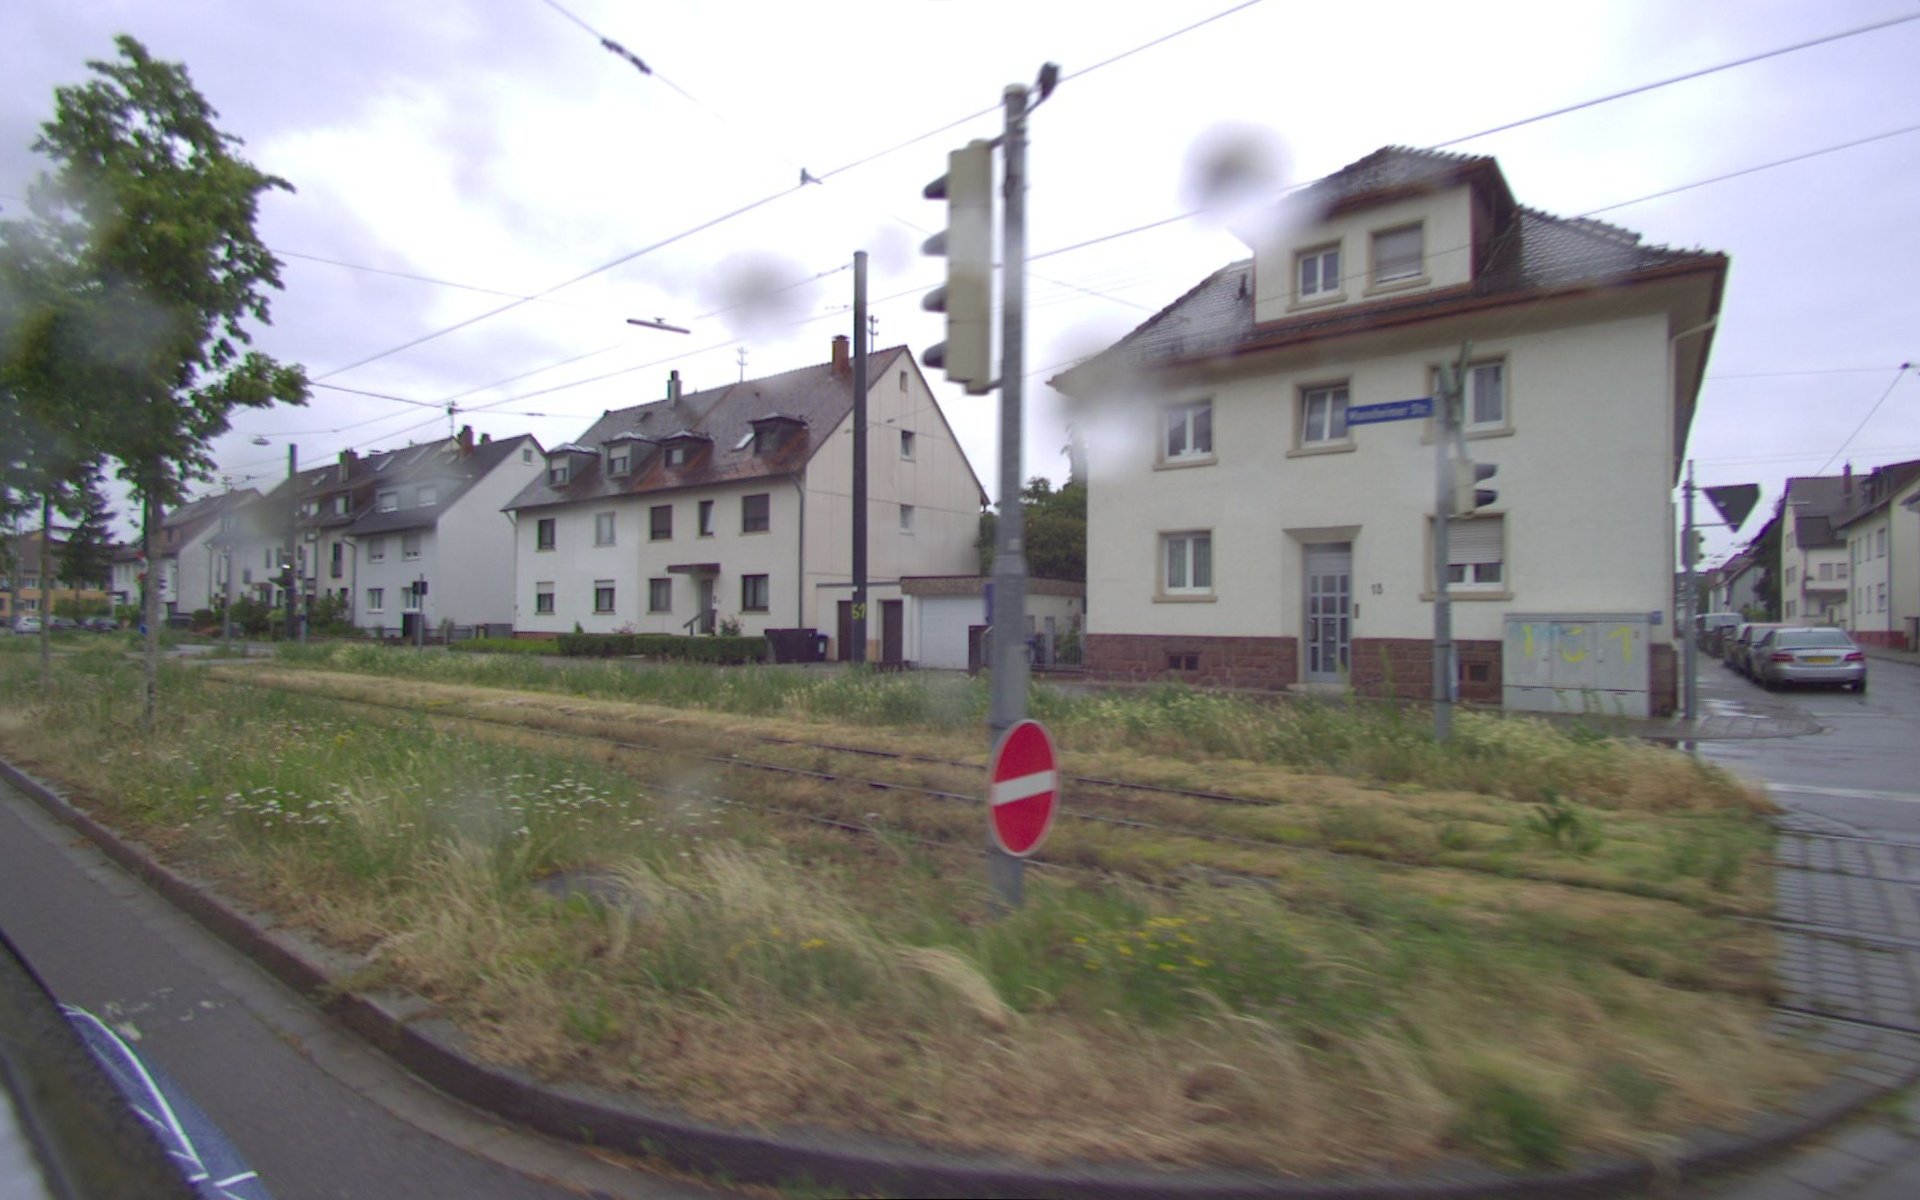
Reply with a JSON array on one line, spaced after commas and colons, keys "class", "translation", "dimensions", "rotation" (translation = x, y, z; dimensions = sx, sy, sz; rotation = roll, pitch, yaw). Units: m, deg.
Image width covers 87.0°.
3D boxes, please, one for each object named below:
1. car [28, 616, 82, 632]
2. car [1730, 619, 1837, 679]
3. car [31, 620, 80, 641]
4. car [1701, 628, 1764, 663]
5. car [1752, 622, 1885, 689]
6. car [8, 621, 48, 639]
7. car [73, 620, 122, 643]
[{"class": "car", "translation": [-93.340, 2.476, 104.433], "dimensions": [1.912, 1.607, 3.946], "rotation": [-1, -1, 40]}, {"class": "car", "translation": [22.722, 1.318, 28.063], "dimensions": [1.837, 1.532, 4.315], "rotation": [0, -2, 33]}, {"class": "car", "translation": [-67.153, 2.253, 75.141], "dimensions": [4.750, 1.543, 1.868], "rotation": [-1, -3, 38]}, {"class": "car", "translation": [32.280, 1.873, 42.390], "dimensions": [1.788, 1.378, 4.315], "rotation": [0, -2, 33]}, {"class": "car", "translation": [19.961, 1.243, 23.703], "dimensions": [1.837, 1.412, 4.315], "rotation": [0, -2, 33]}, {"class": "car", "translation": [-75.832, 2.444, 82.305], "dimensions": [3.994, 1.451, 1.694], "rotation": [-1, -3, 38]}, {"class": "car", "translation": [-57.278, 2.072, 67.206], "dimensions": [3.933, 1.437, 1.755], "rotation": [-1, -3, 39]}]
